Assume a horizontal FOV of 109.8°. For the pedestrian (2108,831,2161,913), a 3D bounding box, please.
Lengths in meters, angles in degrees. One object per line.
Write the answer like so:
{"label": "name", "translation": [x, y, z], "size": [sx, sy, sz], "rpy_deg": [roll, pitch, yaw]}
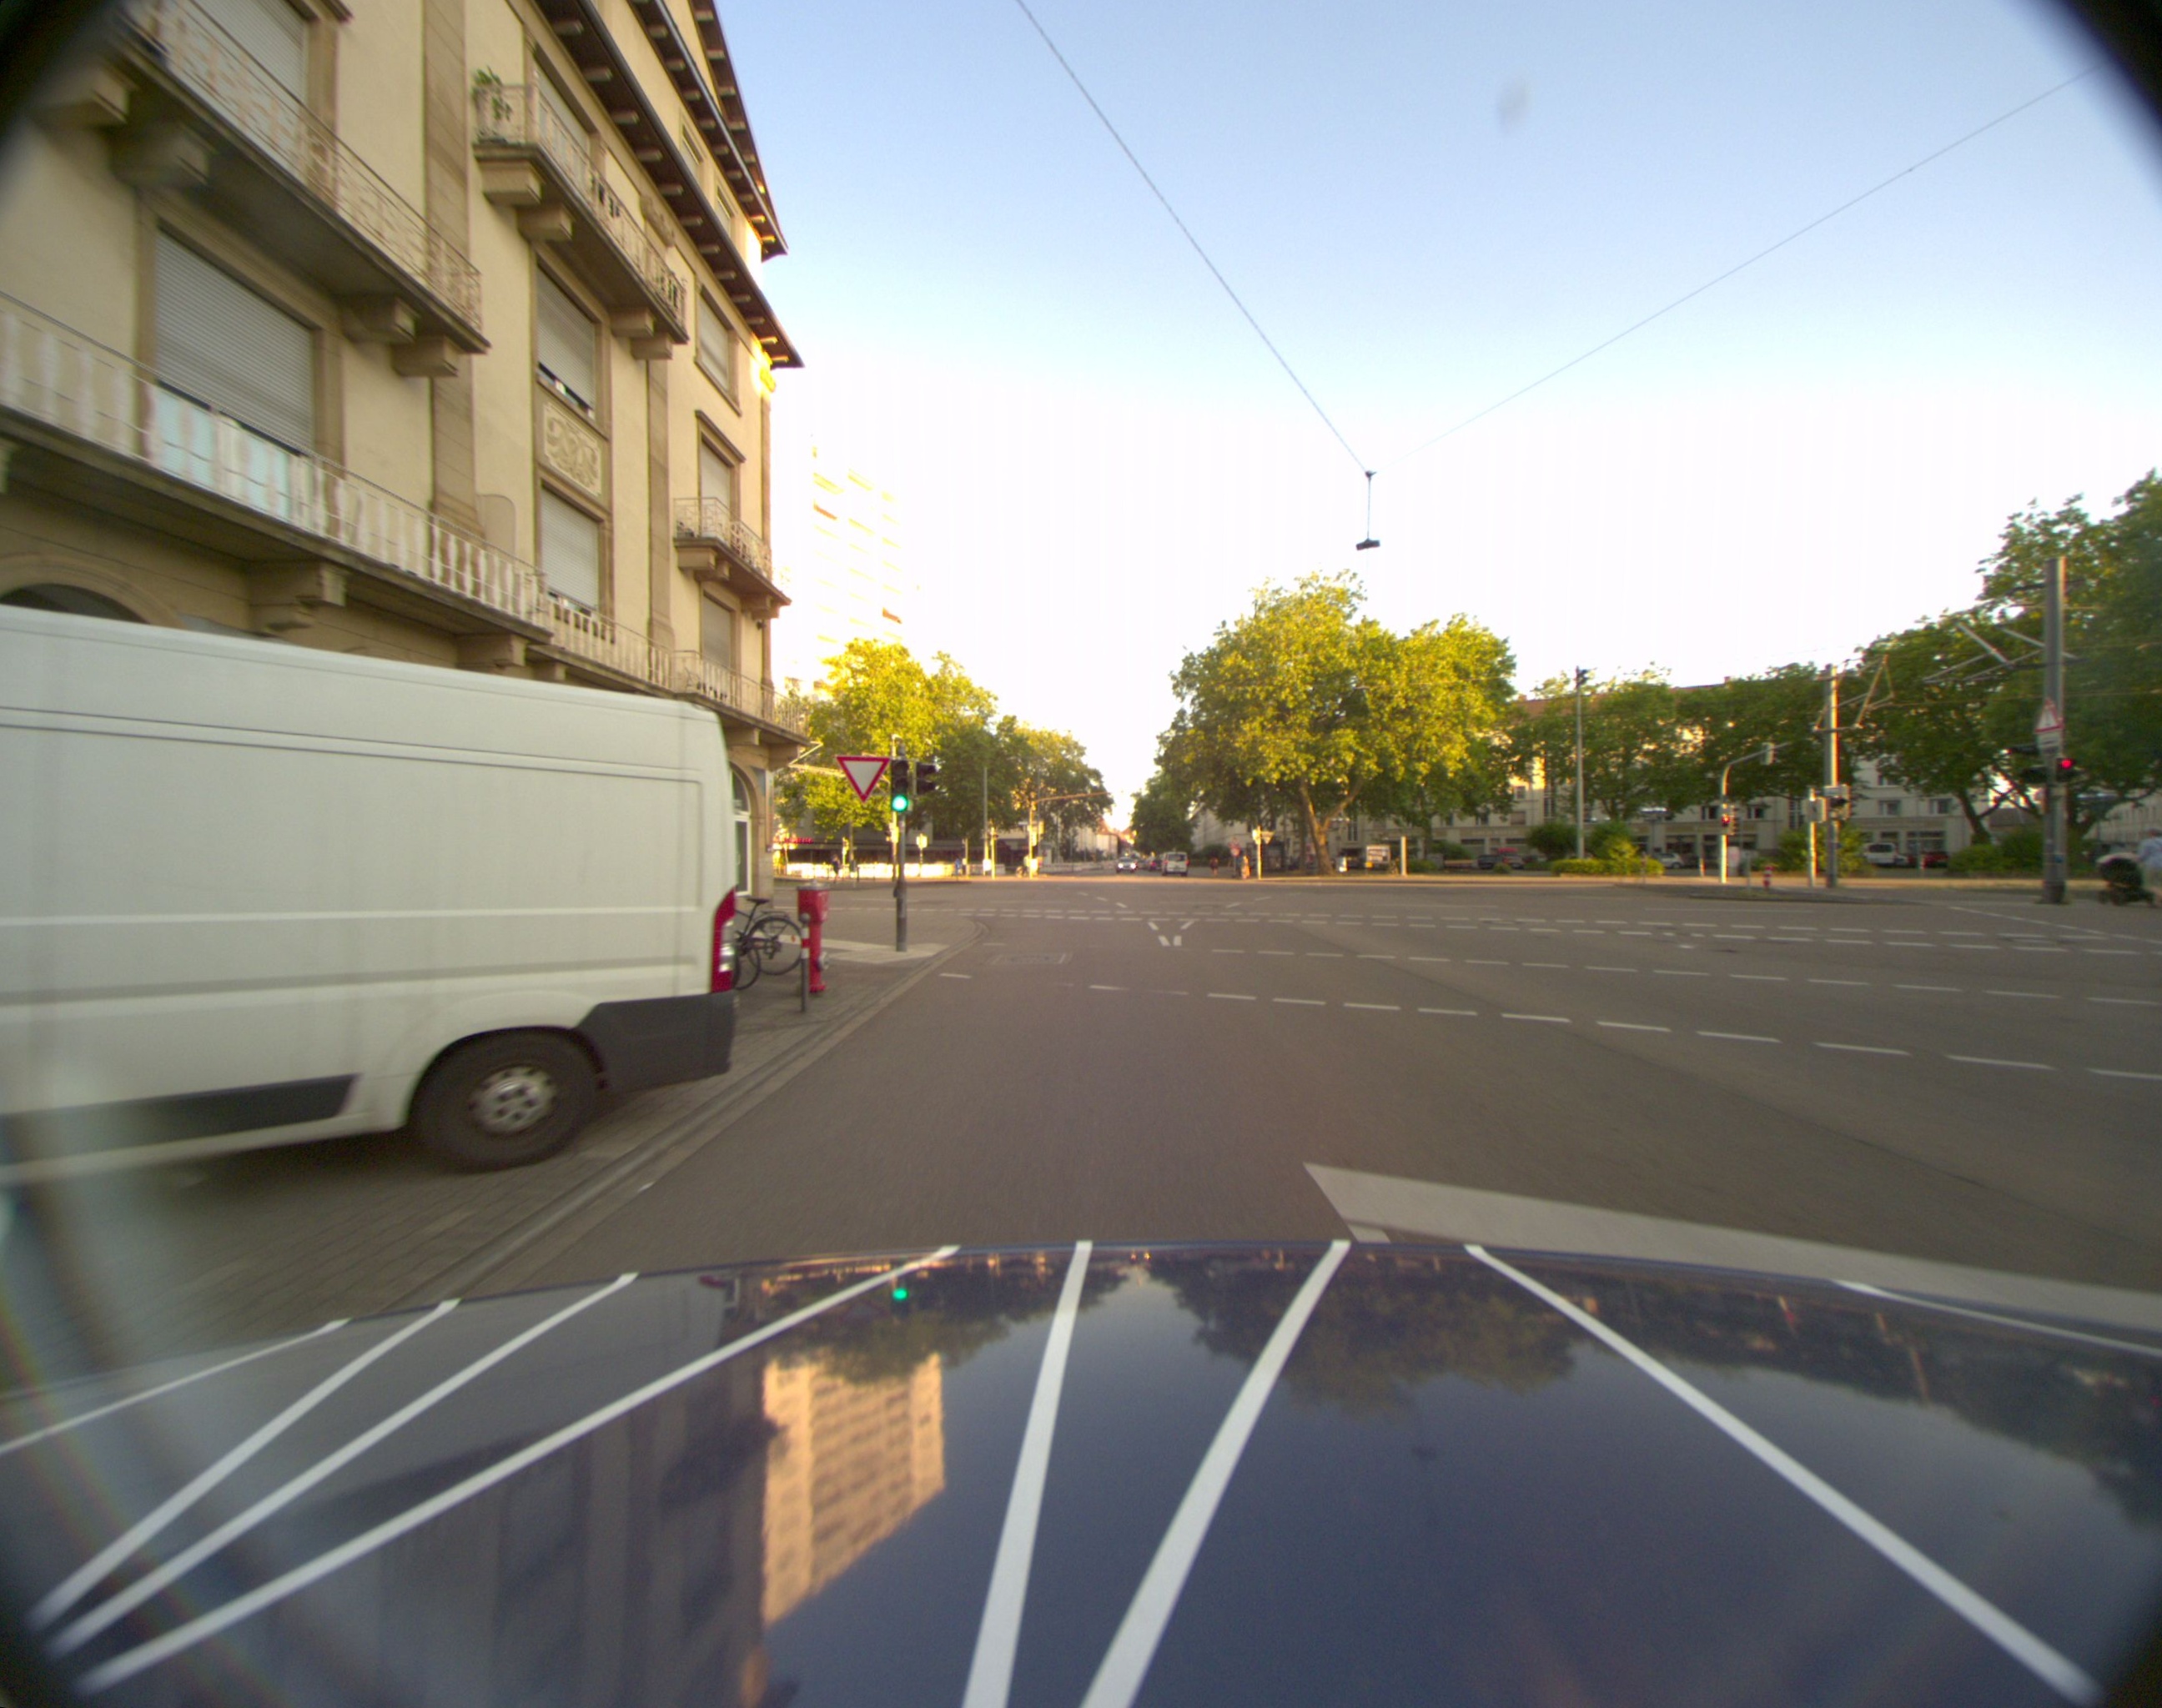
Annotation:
{"label": "pedestrian", "translation": [21.815, 0.358, 15.431], "size": [0.718, 1.624, 1.009], "rpy_deg": [-1, 0, 21]}

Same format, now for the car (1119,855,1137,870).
{"label": "car", "translation": [5.055, 0.843, 81.189], "size": [1.839, 1.549, 4.001], "rpy_deg": [-1, 0, 5]}

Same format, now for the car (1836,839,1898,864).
{"label": "car", "translation": [59.161, -0.165, 57.286], "size": [1.995, 1.826, 4.325], "rpy_deg": [-1, 0, 28]}

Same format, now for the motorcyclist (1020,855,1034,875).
{"label": "motorcyclist", "translation": [-3.993, 0.806, 56.261], "size": [0.830, 1.510, 0.622], "rpy_deg": [-1, 0, -24]}

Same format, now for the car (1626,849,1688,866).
{"label": "car", "translation": [50.501, 0.318, 66.708], "size": [3.991, 1.410, 1.812], "rpy_deg": [-1, 0, 20]}

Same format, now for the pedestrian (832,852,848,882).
{"label": "pedestrian", "translation": [-13.428, 0.728, 42.342], "size": [0.663, 1.647, 0.542], "rpy_deg": [-1, 1, -33]}

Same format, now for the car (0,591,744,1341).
{"label": "car", "translation": [-4.789, 0.351, 3.032], "size": [5.897, 2.537, 2.189], "rpy_deg": [0, 2, -40]}

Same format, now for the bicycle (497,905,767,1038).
{"label": "bicycle", "translation": [-3.972, 1.049, 6.842], "size": [2.002, 1.081, 0.541], "rpy_deg": [2, 0, -8]}

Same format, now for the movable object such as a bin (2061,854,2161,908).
{"label": "movable object such as a bin", "translation": [22.292, 0.569, 16.454], "size": [0.860, 1.113, 1.139], "rpy_deg": [-1, 0, 21]}

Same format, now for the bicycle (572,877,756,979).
{"label": "bicycle", "translation": [-5.372, 0.940, 9.844], "size": [2.000, 1.194, 0.646], "rpy_deg": [2, 0, 1]}

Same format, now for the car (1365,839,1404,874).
{"label": "car", "translation": [18.563, 0.145, 46.612], "size": [1.865, 2.002, 3.815], "rpy_deg": [0, 0, 16]}

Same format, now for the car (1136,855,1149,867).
{"label": "car", "translation": [8.449, 0.979, 104.811], "size": [1.794, 1.571, 4.001], "rpy_deg": [-1, 0, 5]}

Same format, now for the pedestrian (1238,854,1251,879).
{"label": "pedestrian", "translation": [10.989, 0.823, 51.036], "size": [0.745, 1.619, 0.661], "rpy_deg": [-1, 0, 18]}

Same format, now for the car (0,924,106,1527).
{"label": "car", "translation": [-4.147, 0.937, 0.290], "size": [4.263, 1.445, 1.994], "rpy_deg": [1, 1, -37]}

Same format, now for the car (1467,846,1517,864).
{"label": "car", "translation": [39.534, 0.108, 73.103], "size": [3.989, 1.696, 2.004], "rpy_deg": [0, 0, 35]}

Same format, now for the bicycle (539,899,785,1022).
{"label": "bicycle", "translation": [-4.021, 1.030, 7.404], "size": [2.002, 1.081, 0.541], "rpy_deg": [2, 0, -8]}

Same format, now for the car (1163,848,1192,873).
{"label": "car", "translation": [7.908, 0.540, 62.739], "size": [1.991, 1.945, 4.597], "rpy_deg": [-1, 0, 3]}

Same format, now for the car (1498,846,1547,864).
{"label": "car", "translation": [43.422, 0.079, 74.713], "size": [3.989, 1.696, 2.004], "rpy_deg": [0, 0, 35]}

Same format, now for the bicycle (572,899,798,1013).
{"label": "bicycle", "translation": [-4.095, 1.062, 7.971], "size": [2.002, 1.081, 0.541], "rpy_deg": [2, 0, -8]}

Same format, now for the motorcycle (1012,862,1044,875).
{"label": "motorcycle", "translation": [-3.929, 1.056, 56.288], "size": [2.288, 0.917, 0.622], "rpy_deg": [-1, 0, -24]}

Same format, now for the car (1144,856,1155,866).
{"label": "car", "translation": [11.234, 1.141, 124.297], "size": [1.827, 1.565, 4.001], "rpy_deg": [-1, 0, 5]}

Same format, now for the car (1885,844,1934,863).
{"label": "car", "translation": [69.714, -0.042, 63.999], "size": [1.759, 1.562, 3.593], "rpy_deg": [0, 0, 29]}

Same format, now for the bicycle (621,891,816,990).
{"label": "bicycle", "translation": [-4.306, 1.028, 9.125], "size": [2.002, 1.081, 0.541], "rpy_deg": [2, 0, -8]}

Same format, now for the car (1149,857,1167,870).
{"label": "car", "translation": [9.042, 1.142, 89.223], "size": [1.998, 1.450, 4.002], "rpy_deg": [-1, 0, 6]}

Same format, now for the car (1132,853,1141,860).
{"label": "car", "translation": [11.098, 0.486, 152.237], "size": [1.839, 1.419, 4.001], "rpy_deg": [-1, 0, 5]}
